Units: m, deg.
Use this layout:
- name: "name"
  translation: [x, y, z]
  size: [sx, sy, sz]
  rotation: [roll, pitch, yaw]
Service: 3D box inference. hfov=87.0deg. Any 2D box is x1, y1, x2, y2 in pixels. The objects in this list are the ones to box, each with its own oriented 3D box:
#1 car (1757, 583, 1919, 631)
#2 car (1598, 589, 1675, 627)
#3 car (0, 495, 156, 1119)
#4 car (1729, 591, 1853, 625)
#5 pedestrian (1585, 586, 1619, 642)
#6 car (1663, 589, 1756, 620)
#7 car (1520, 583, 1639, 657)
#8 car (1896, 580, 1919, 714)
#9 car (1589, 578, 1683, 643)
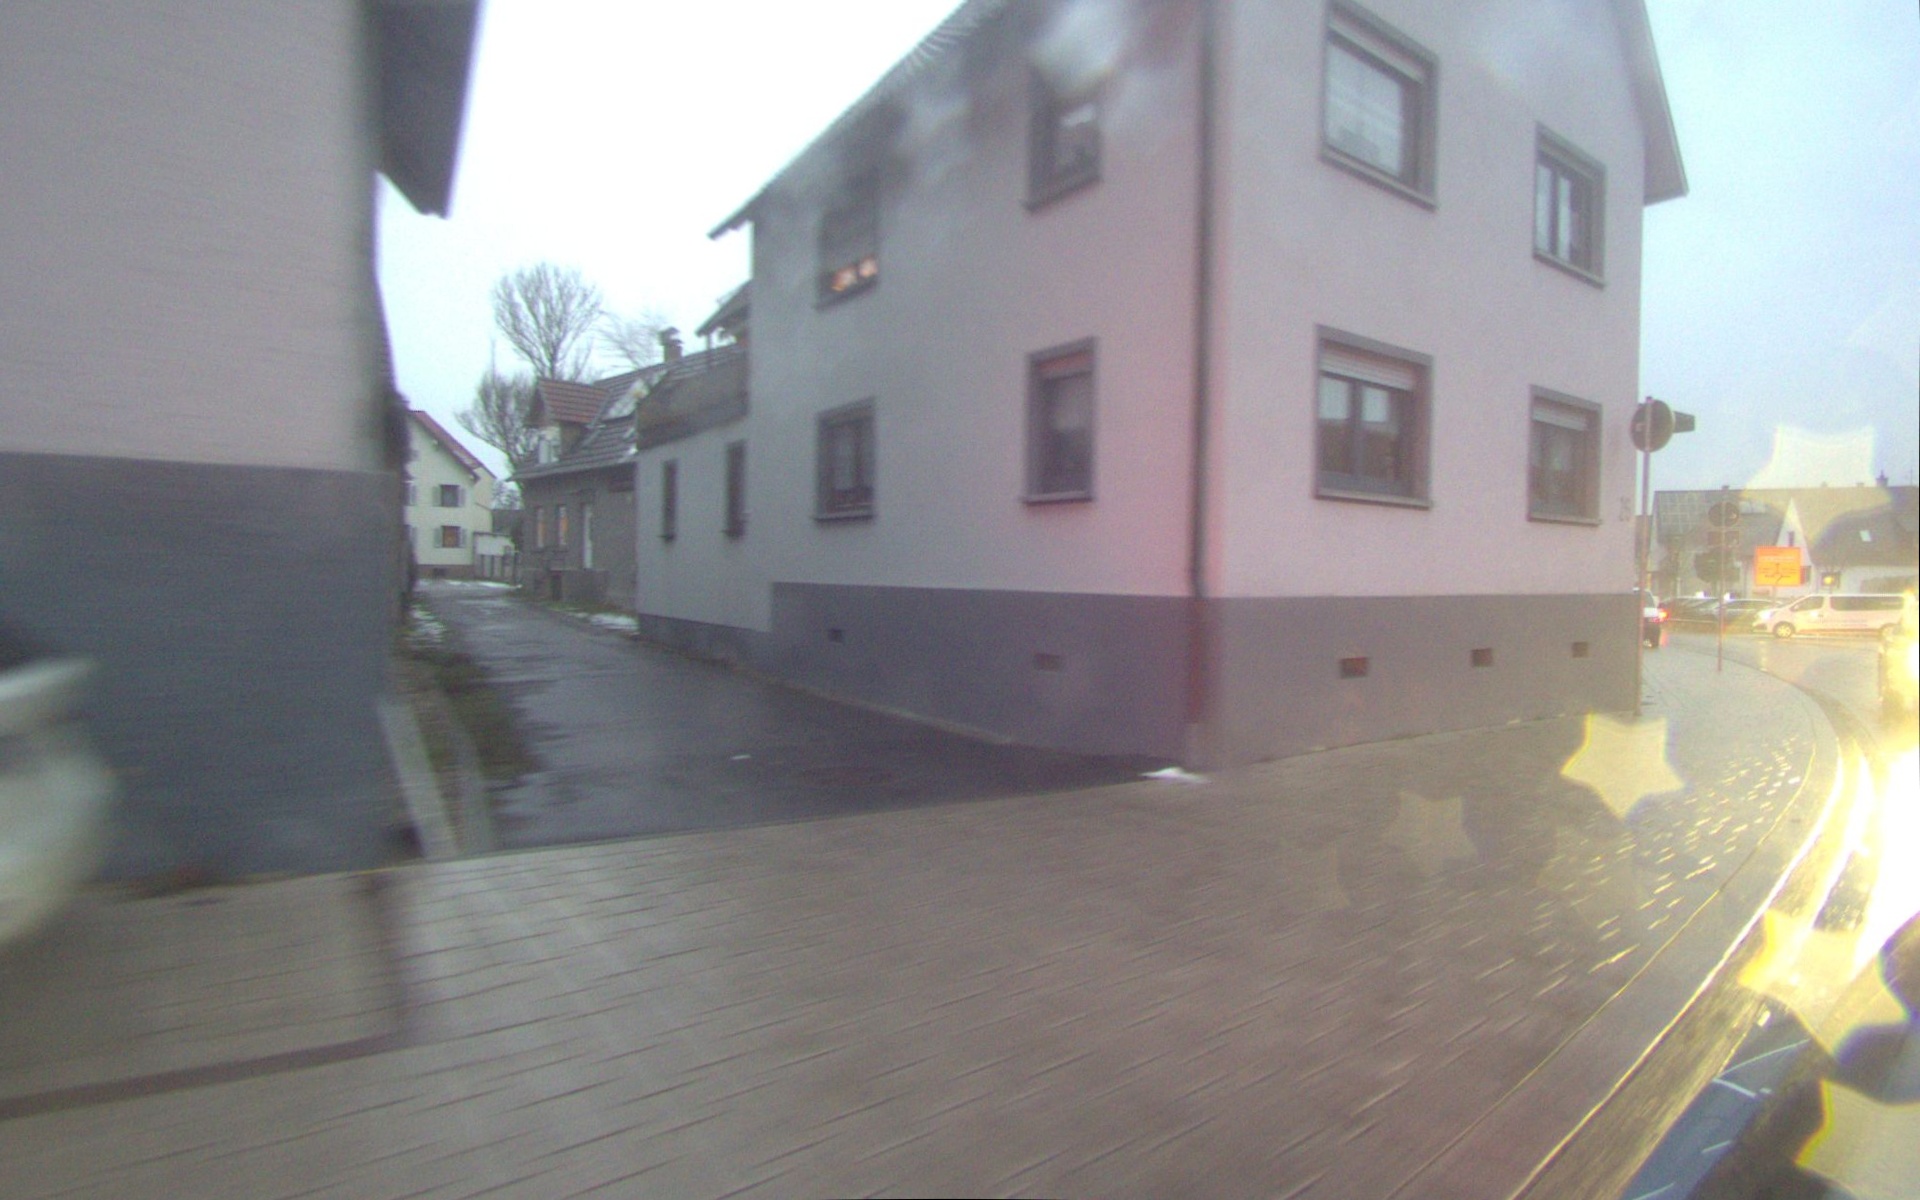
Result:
- name: "car"
  translation: [38.021, 0.273, 43.523]
  size: [5.738, 1.971, 1.967]
  rotation: [0, -1, 34]
- name: "car"
  translation: [35.859, 0.388, 53.797]
  size: [1.925, 1.772, 4.827]
  rotation: [3, 2, 16]
- name: "car"
  translation: [-4.632, 0.416, 2.045]
  size: [4.452, 1.484, 1.892]
  rotation: [1, 2, -31]
- name: "car"
  translation: [45.399, 0.424, 55.431]
  size: [4.824, 1.705, 1.985]
  rotation: [2, 0, 22]
- name: "pedestrian"
  translation: [20.076, 0.423, 31.653]
  size: [0.707, 1.720, 0.798]
  rotation: [2, 1, 22]
- name: "car"
  translation: [47.923, 0.254, 64.786]
  size: [4.372, 1.824, 1.833]
  rotation: [2, 0, 20]
- name: "car"
  translation: [14.852, 0.415, 24.454]
  size: [1.718, 1.580, 3.638]
  rotation: [2, 1, 21]
- name: "car"
  translation: [14.314, 0.597, 13.794]
  size: [2.264, 1.663, 4.987]
  rotation: [1, 1, 43]
- name: "car"
  translation: [22.856, 0.315, 34.401]
  size: [1.959, 1.984, 4.808]
  rotation: [2, 1, 26]
